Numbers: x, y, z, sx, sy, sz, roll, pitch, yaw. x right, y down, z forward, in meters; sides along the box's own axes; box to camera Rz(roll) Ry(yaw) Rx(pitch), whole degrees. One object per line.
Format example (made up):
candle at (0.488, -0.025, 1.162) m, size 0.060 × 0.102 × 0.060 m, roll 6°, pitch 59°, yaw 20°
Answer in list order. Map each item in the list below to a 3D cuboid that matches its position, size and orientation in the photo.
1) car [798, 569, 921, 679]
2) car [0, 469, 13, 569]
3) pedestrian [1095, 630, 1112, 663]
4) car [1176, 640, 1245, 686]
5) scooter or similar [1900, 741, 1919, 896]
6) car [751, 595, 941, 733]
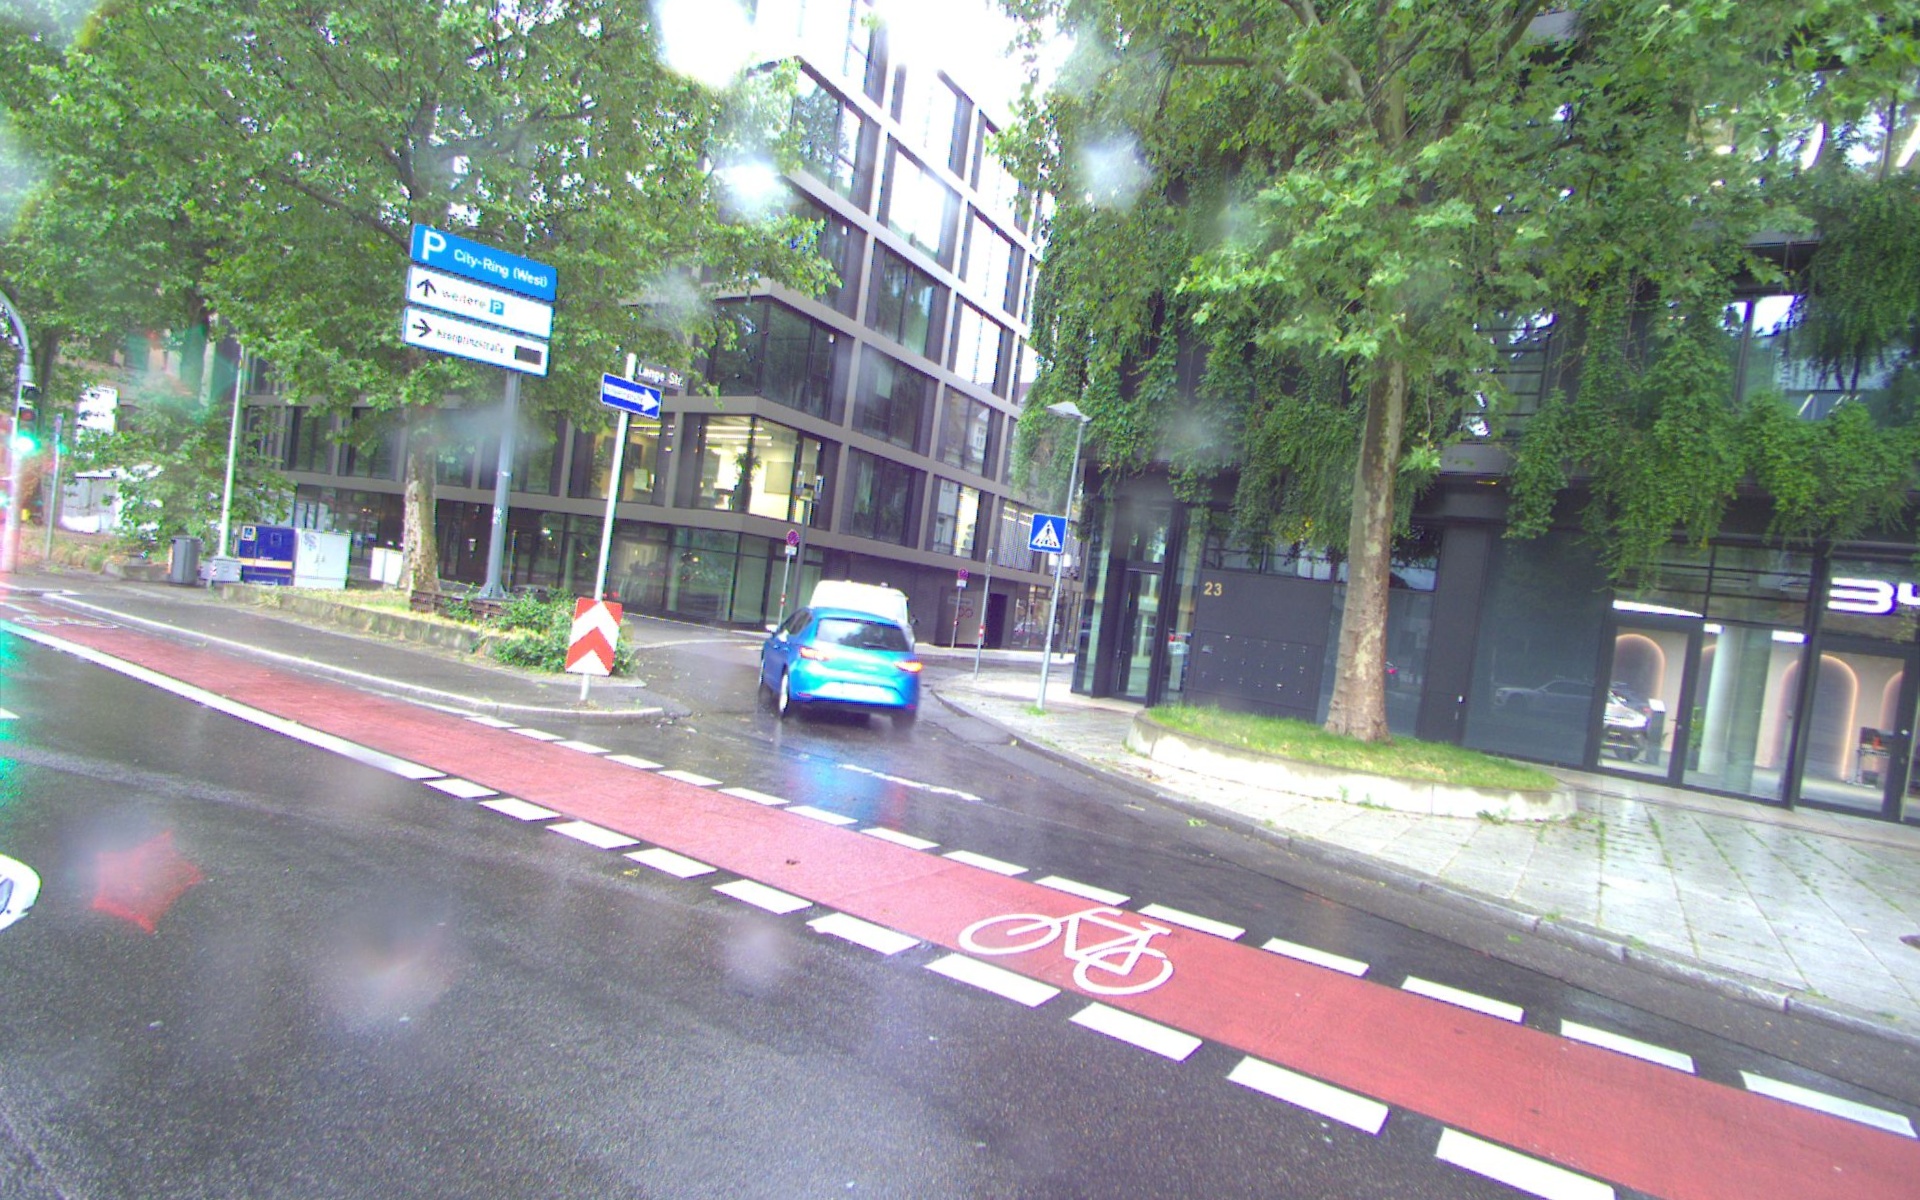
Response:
car at (-2.100, 0.540, 22.447) m, size 1.889 × 1.969 × 4.965 m, roll 7°, pitch -1°, yaw 2°
car at (-12.248, -0.777, 10.891) m, size 3.935 × 1.717 × 1.881 m, roll 6°, pitch -2°, yaw 33°
pedestrian at (7.309, 2.355, 51.180) m, size 0.537 × 1.579 × 0.503 m, roll 6°, pitch -1°, yaw 29°
car at (10.989, 2.768, 43.951) m, size 1.814 × 1.607 × 3.997 m, roll 6°, pitch -2°, yaw 30°
scooter or similar at (8.496, 1.881, 8.103) m, size 0.528 × 1.297 × 1.184 m, roll 7°, pitch -1°, yaw -8°
car at (-1.744, 0.772, 13.947) m, size 1.774 × 1.453 × 4.048 m, roll 7°, pitch -1°, yaw -17°
